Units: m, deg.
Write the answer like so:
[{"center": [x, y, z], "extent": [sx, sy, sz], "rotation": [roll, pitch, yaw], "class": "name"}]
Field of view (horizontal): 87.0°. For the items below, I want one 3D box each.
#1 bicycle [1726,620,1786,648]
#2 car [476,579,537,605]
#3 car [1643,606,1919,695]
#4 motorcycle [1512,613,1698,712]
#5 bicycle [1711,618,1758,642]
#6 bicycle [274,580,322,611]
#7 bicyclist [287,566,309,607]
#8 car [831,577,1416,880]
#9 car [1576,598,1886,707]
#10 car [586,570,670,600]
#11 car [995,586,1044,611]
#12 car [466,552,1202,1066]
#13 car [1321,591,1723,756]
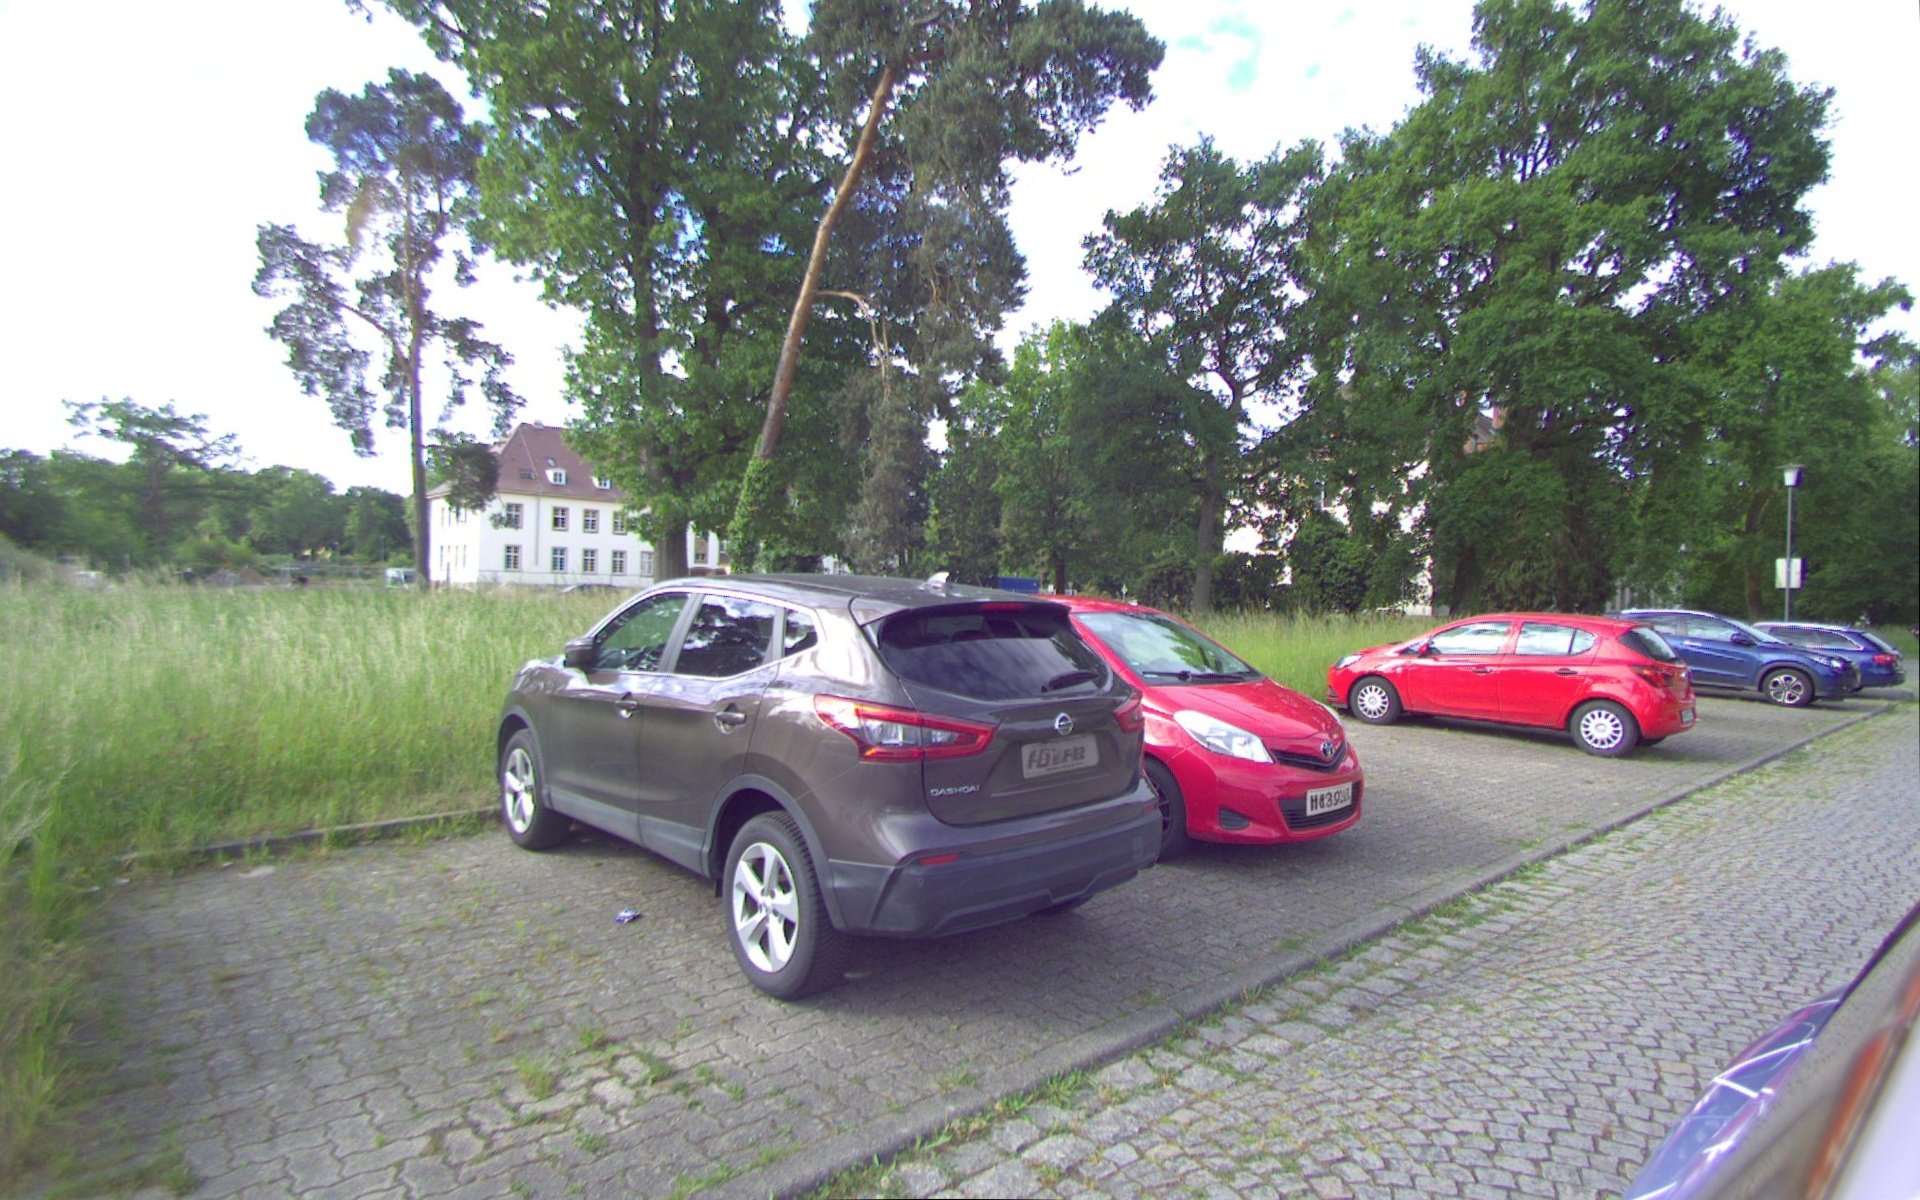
[{"center": [35.032, 1.479, 44.569], "extent": [1.999, 1.101, 0.474], "rotation": [2, 3, 27], "class": "bicycle"}, {"center": [-37.617, -0.653, 83.820], "extent": [5.811, 2.039, 2.450], "rotation": [0, 0, 41], "class": "car"}, {"center": [17.744, 1.011, 21.906], "extent": [1.860, 1.483, 4.518], "rotation": [2, 2, -38], "class": "car"}, {"center": [9.644, 0.887, 15.219], "extent": [2.265, 1.291, 0.596], "rotation": [3, 1, 44], "class": "motorcycle"}, {"center": [38.362, 1.484, 50.123], "extent": [1.734, 1.101, 0.548], "rotation": [2, 3, 27], "class": "bicycle"}, {"center": [-33.032, -0.212, 50.516], "extent": [1.900, 1.498, 0.654], "rotation": [0, 0, -41], "class": "bicycle"}, {"center": [-33.027, -0.655, 50.515], "extent": [0.833, 2.039, 0.658], "rotation": [1, -1, -41], "class": "bicyclist"}, {"center": [0.912, 0.647, 7.318], "extent": [1.708, 1.537, 3.994], "rotation": [1, 0, -41], "class": "car"}, {"center": [14.198, 0.879, 18.829], "extent": [1.862, 1.593, 4.271], "rotation": [2, 1, -41], "class": "car"}, {"center": [-19.575, -0.848, 59.801], "extent": [4.323, 1.723, 1.972], "rotation": [0, 0, -41], "class": "car"}, {"center": [5.012, -0.129, 84.911], "extent": [4.012, 2.039, 1.783], "rotation": [0, 0, -41], "class": "car"}, {"center": [-0.948, 0.622, 5.197], "extent": [1.732, 1.600, 3.954], "rotation": [1, 0, -43], "class": "car"}, {"center": [6.583, 0.737, 12.155], "extent": [1.708, 1.524, 3.845], "rotation": [2, 1, -42], "class": "car"}]
